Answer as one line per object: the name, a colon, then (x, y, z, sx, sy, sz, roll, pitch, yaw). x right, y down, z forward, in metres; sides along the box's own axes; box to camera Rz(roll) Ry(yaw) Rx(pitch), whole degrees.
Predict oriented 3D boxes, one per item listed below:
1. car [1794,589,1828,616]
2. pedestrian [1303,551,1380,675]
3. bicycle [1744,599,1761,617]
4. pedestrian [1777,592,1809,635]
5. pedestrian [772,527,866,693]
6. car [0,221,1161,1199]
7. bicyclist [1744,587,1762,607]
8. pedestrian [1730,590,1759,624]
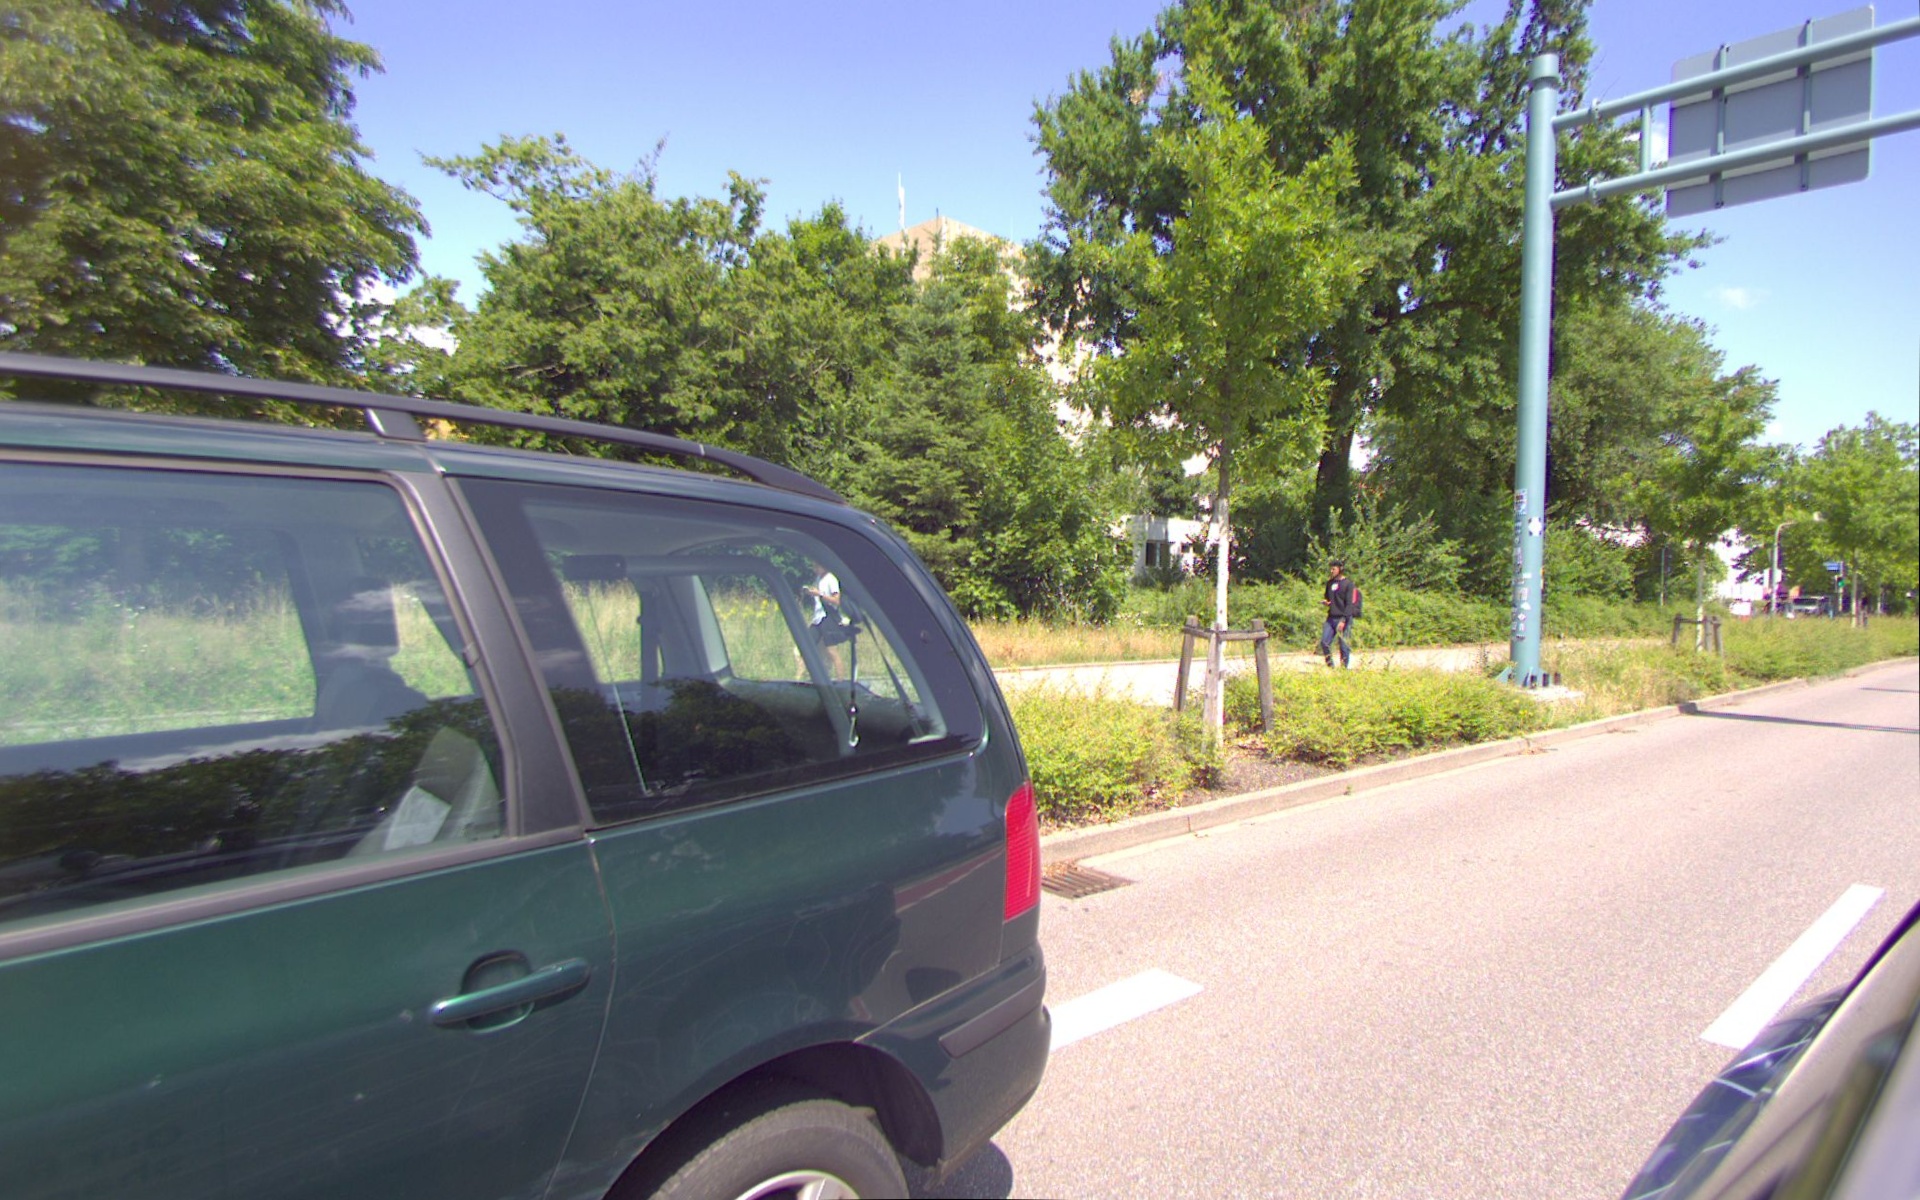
car: (68.919, 0.176, 81.946, 1.992, 2.080, 4.166, 2, 1, 41)
pedestrian: (5.573, 0.170, 14.781, 0.822, 1.743, 0.718, 1, 1, -39)
bicycle: (57.958, 0.557, 73.986, 0.881, 1.267, 2.133, 1, 1, 41)
pedestrian: (34.216, 0.550, 41.567, 0.913, 1.743, 0.815, 0, 1, -39)
pedestrian: (-1.553, 0.097, 11.106, 0.733, 1.743, 0.724, 1, 1, -39)
car: (-1.779, 0.505, 1.410, 4.312, 1.756, 1.815, 1, 0, -42)
bicyclist: (57.861, -0.206, 73.871, 0.968, 1.462, 1.061, 1, 1, 42)
pedestrian: (43.982, 0.375, 56.746, 0.956, 1.896, 0.876, 1, 0, 10)
